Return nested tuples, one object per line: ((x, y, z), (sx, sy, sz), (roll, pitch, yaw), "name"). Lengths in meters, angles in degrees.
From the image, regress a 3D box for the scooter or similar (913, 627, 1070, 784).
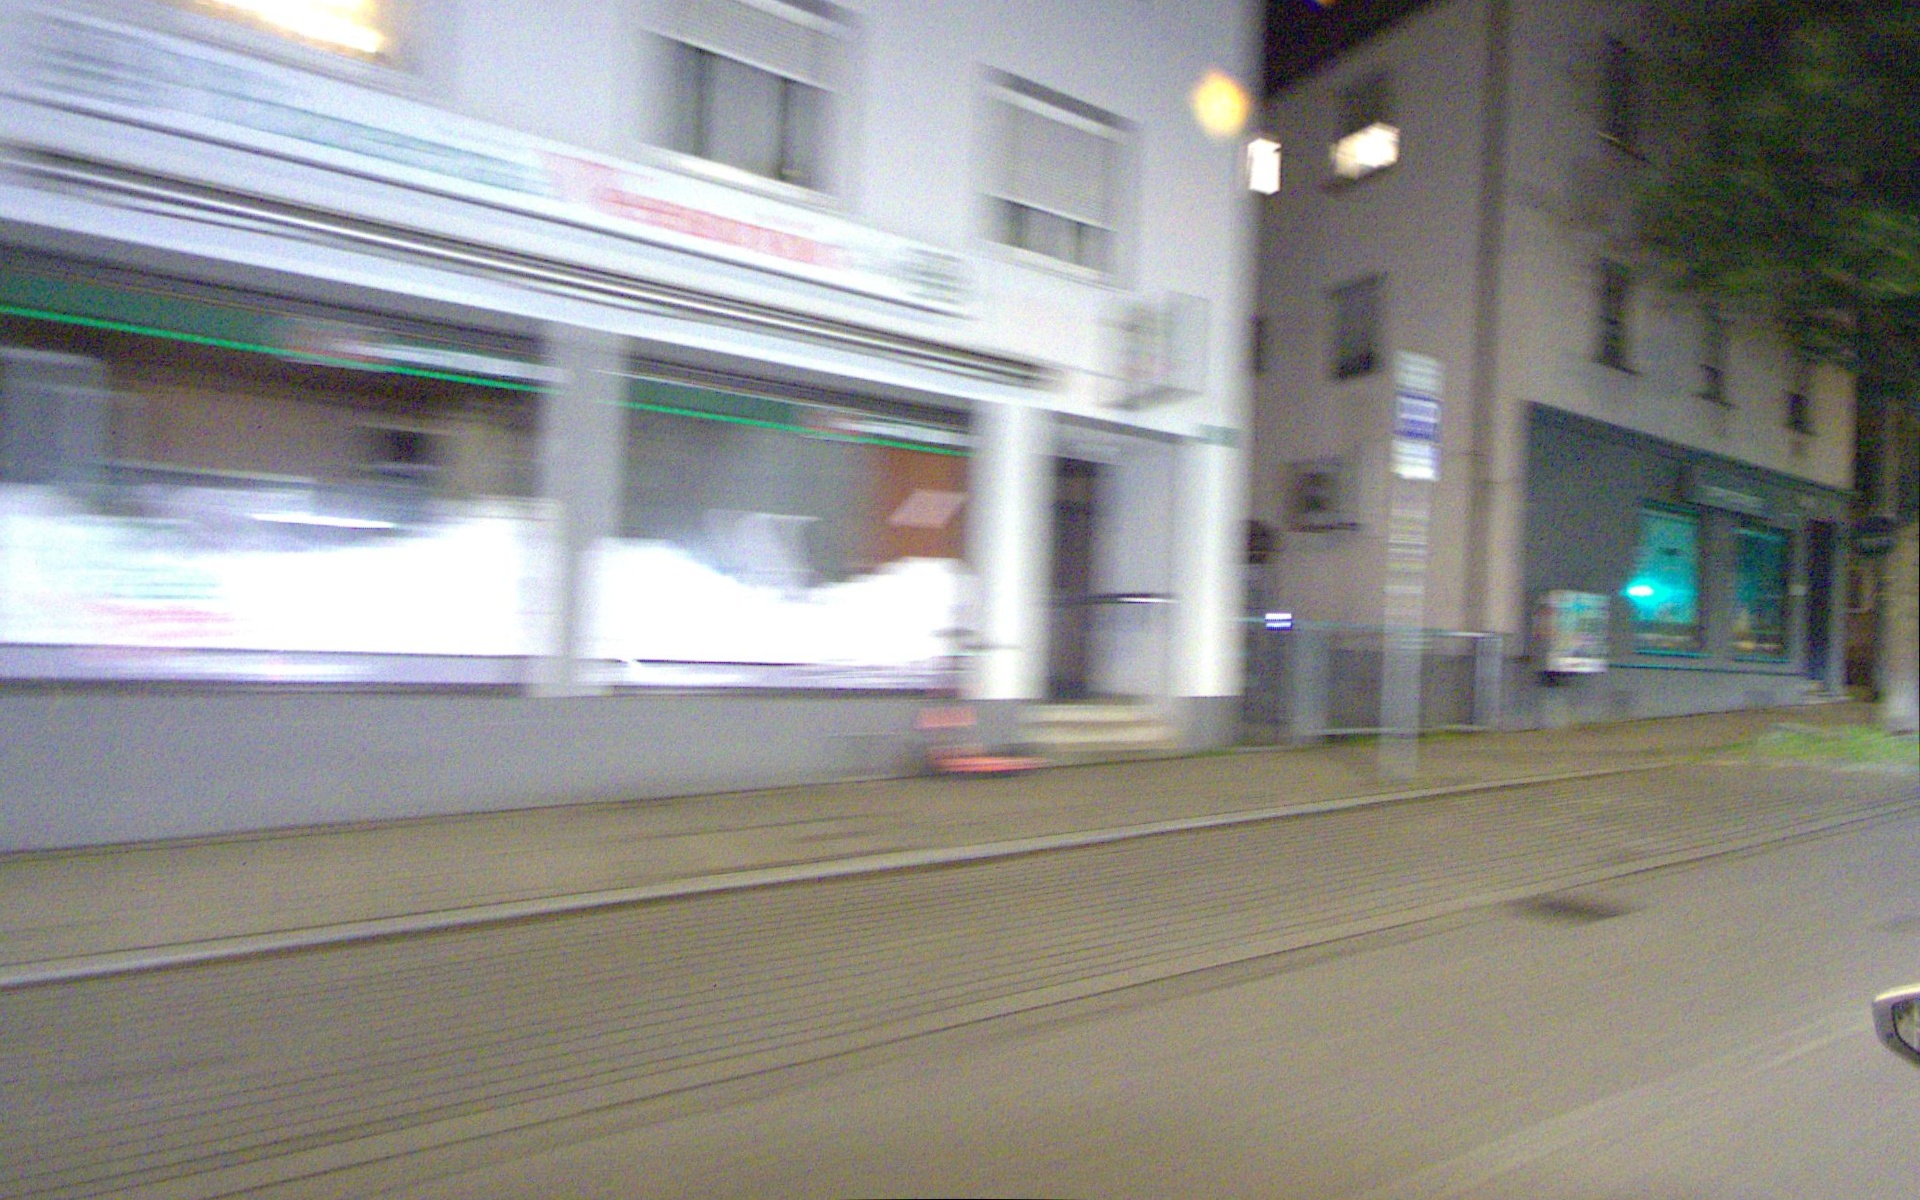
((0.279, 0.868, 8.488), (1.319, 1.242, 0.330), (2, 0, -29), "scooter or similar")
